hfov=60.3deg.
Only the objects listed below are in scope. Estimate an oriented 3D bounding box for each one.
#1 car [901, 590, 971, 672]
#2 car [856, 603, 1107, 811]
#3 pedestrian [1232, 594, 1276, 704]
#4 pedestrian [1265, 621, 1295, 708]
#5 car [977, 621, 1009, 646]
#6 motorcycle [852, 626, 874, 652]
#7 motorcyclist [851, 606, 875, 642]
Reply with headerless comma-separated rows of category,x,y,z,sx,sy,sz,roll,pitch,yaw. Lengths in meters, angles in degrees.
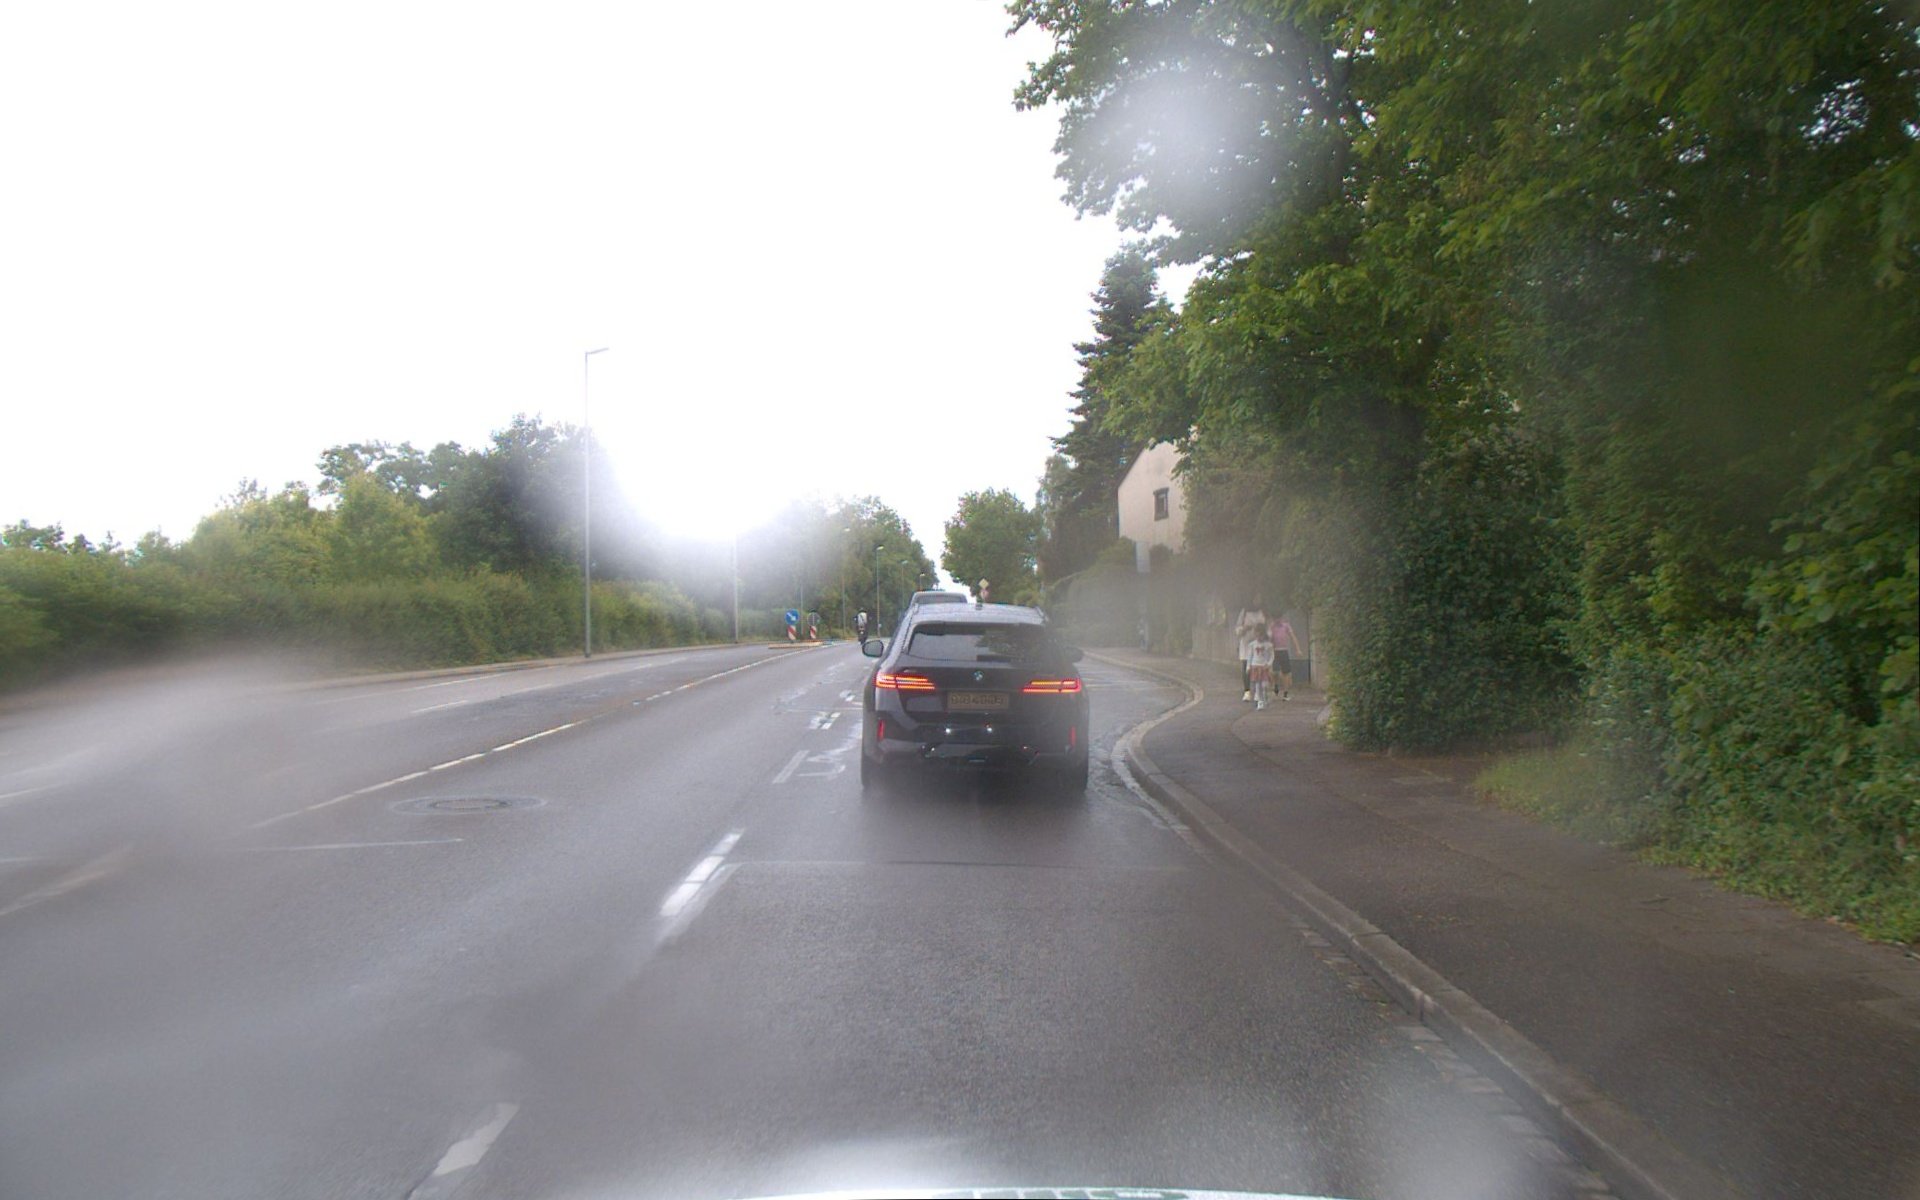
car,-0.583,0.743,40.490,1.596,1.865,3.999,-1,0,-1
car,0.168,0.831,14.434,1.858,1.515,4.000,1,-1,0
pedestrian,4.402,0.729,24.807,0.597,1.621,0.646,-1,-1,7
pedestrian,4.320,0.868,22.355,0.359,1.166,0.366,-1,-1,7
car,2.083,2.063,103.047,1.895,1.467,4.408,-1,-1,2
motorcycle,-4.442,1.784,75.703,0.858,1.144,2.740,1,-1,-1
motorcyclist,-4.437,1.098,75.716,1.018,1.595,0.855,1,-1,-1
